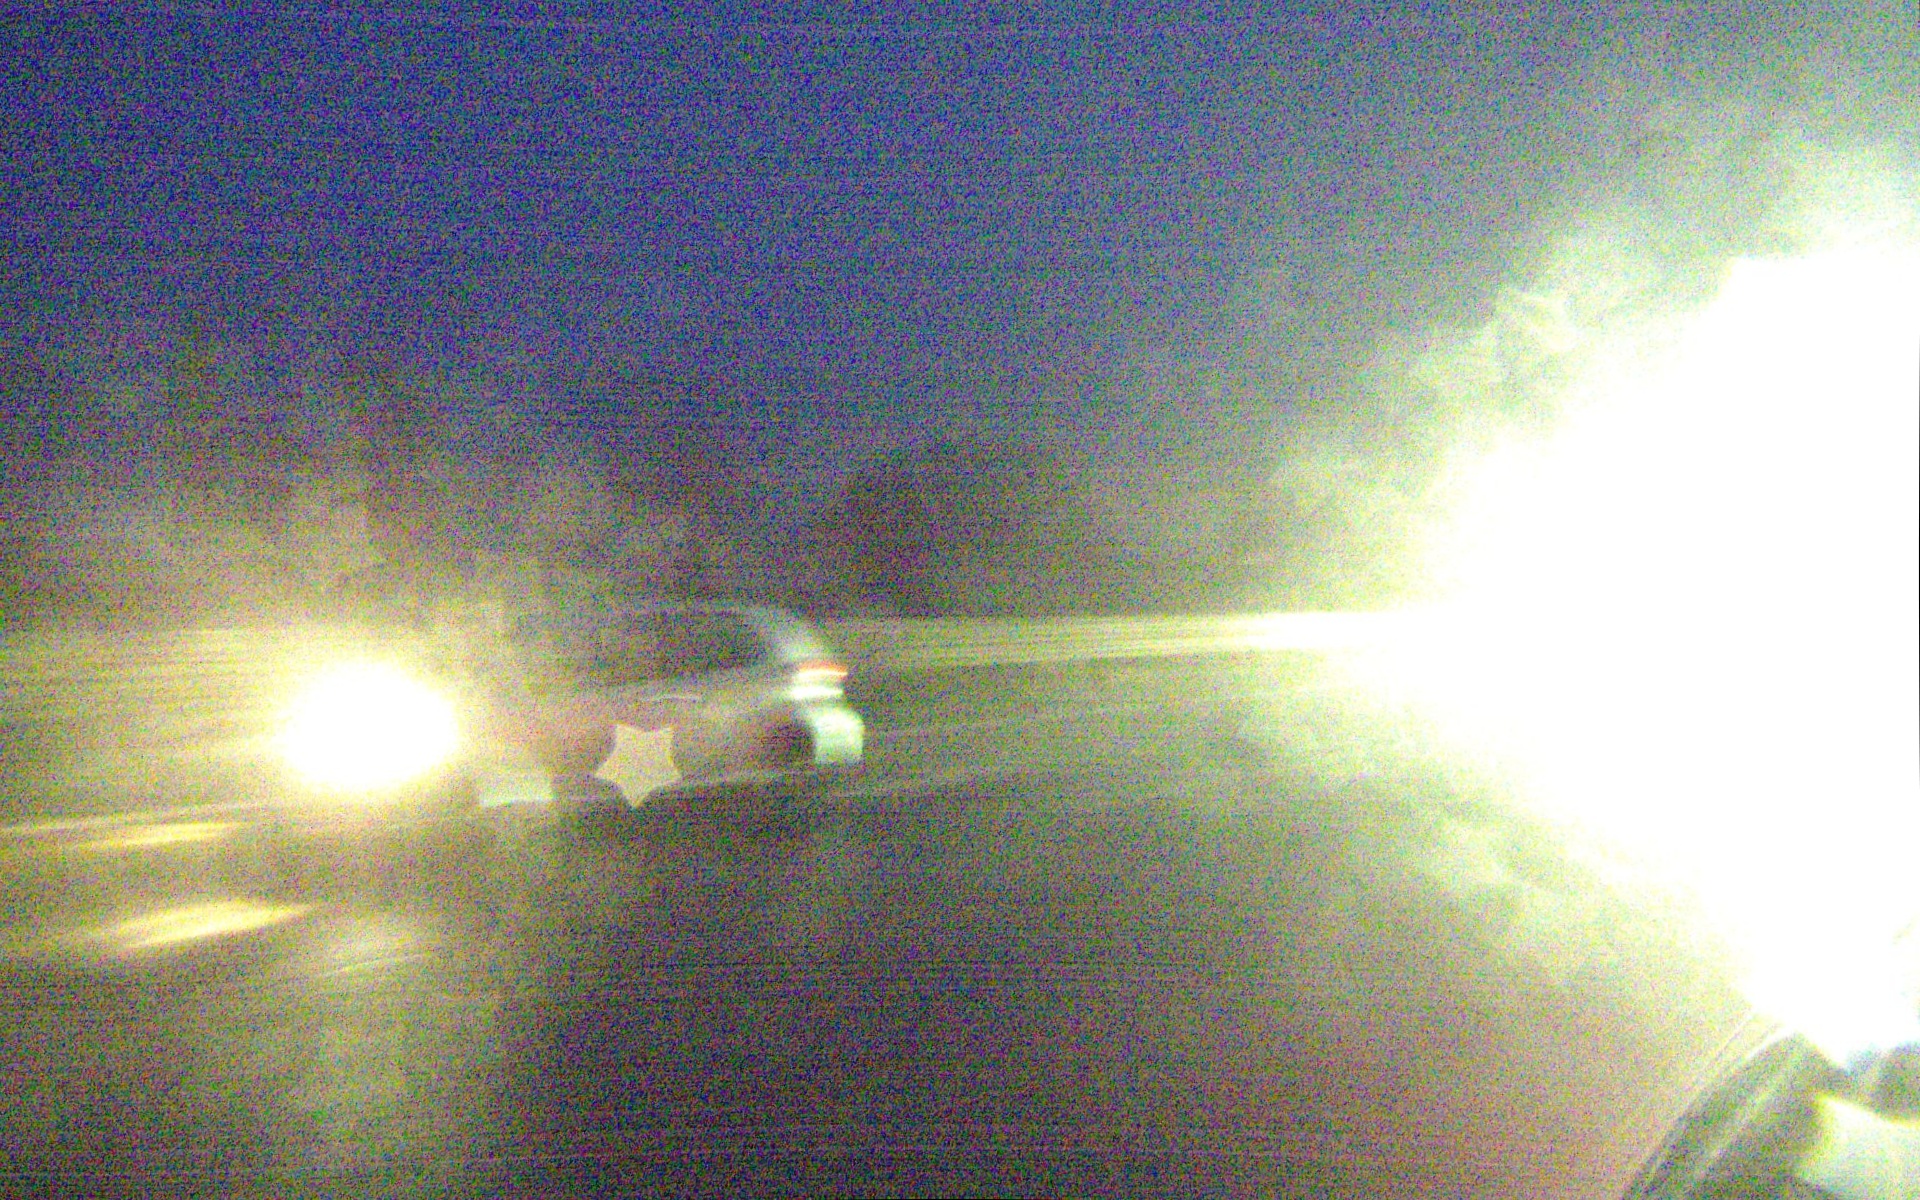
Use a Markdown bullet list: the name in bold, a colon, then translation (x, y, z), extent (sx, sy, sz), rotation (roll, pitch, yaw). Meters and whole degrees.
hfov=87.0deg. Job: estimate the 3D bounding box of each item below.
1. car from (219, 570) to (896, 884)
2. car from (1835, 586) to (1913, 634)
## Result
- **car**: translation (-2.502, 0.596, 6.839), extent (3.942, 1.521, 1.643), rotation (0, 1, -41)
- **car**: translation (36.968, 0.412, 40.889), extent (4.616, 1.870, 1.830), rotation (1, -1, -41)
